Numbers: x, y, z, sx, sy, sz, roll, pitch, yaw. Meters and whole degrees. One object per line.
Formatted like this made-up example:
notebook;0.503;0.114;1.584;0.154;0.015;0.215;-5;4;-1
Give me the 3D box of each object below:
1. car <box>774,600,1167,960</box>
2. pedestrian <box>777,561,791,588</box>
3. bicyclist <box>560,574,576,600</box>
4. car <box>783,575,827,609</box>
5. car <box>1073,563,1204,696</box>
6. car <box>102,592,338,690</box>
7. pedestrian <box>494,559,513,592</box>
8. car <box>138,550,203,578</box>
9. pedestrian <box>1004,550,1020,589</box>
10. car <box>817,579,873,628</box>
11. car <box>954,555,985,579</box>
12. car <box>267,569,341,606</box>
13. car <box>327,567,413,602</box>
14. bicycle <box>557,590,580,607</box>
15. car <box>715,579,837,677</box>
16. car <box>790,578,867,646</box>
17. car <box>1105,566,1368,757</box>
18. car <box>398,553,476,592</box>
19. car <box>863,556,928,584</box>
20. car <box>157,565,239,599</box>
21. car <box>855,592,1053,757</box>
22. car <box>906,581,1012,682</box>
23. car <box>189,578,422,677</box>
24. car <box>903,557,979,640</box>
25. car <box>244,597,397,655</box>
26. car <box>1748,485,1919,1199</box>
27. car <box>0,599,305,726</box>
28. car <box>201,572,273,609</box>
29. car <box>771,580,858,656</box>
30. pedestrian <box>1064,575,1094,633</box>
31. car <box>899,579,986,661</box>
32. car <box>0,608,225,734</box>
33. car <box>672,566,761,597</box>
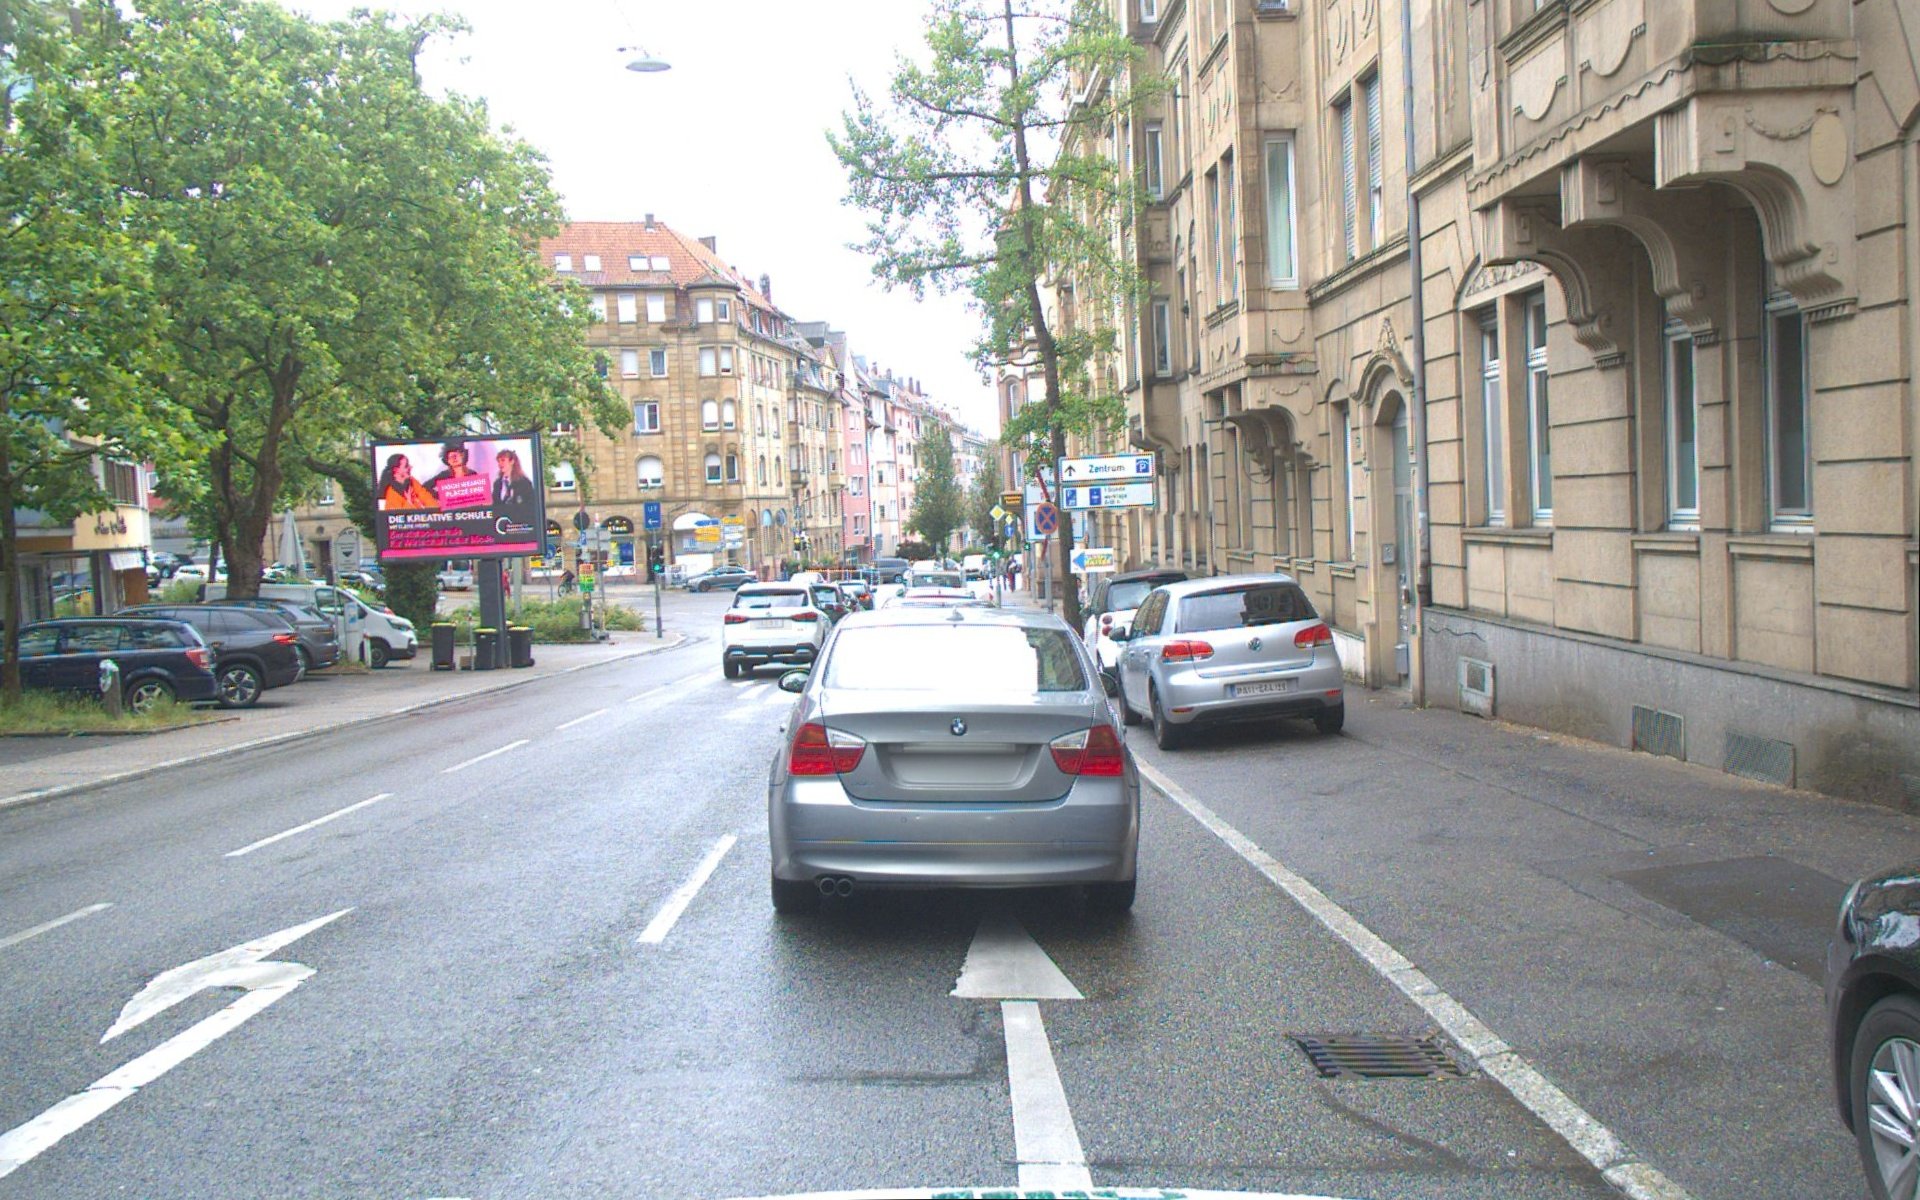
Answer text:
car;0.053;0.735;8.557;1.590;1.407;3.615;-1;1;0
pedestrian;-10.716;-1.535;100.808;0.716;1.605;0.528;-1;1;8
bicyclist;-20.372;-0.675;86.053;0.556;1.295;0.690;1;0;11
car;-7.129;-0.387;76.343;1.680;1.476;3.741;-2;1;-1
car;2.386;0.363;22.670;1.273;1.569;2.975;-6;1;-1
car;-15.121;0.811;34.062;4.295;1.815;1.927;-2;0;-22
pedestrian;-22.834;-1.236;82.794;0.525;1.605;0.719;-2;0;22
car;-51.059;-2.344;106.925;3.909;1.718;1.726;1;0;27
pedestrian;2.625;-1.544;83.497;0.727;1.943;0.659;-2;1;-2
car;-4.171;0.096;60.627;1.723;1.737;4.000;-1;1;0
car;0.726;-2.400;120.610;1.951;1.606;4.002;1;0;5
car;-40.453;-0.813;101.938;4.196;2.138;1.998;2;2;28
car;-30.658;-0.826;85.965;4.157;1.756;1.997;1;2;30
bicycle;-20.371;-0.095;86.067;0.561;0.873;1.523;1;0;12
car;-3.281;0.454;30.129;1.830;1.654;3.999;-1;1;-1
car;-3.519;0.284;44.841;1.723;1.737;4.000;-1;1;0
car;2.568;0.512;16.324;1.725;1.476;3.999;-6;1;-1
car;-30.422;-1.631;96.174;4.196;2.138;1.998;2;2;28
car;-5.027;-2.327;129.728;5.072;2.049;2.698;1;0;-1
car;-42.620;-1.010;92.500;4.155;1.756;1.998;0;3;29
car;-0.040;0.646;16.536;1.723;1.407;4.000;-1;1;0
car;-0.009;0.450;26.862;1.562;1.490;4.000;1;1;0
car;-15.466;0.615;39.288;4.989;2.142;1.979;-2;0;-22
car;-0.529;-0.034;44.788;1.953;2.143;3.999;0;0;-1
car;-18.008;0.710;46.678;3.916;1.475;1.757;-2;0;-22
car;2.834;0.533;1.930;1.724;1.679;4.098;-6;1;0
car;-12.920;0.953;26.659;4.308;1.701;1.842;-3;1;-24
car;-45.504;-0.629;104.049;4.196;2.138;1.998;2;2;28
car;-3.495;0.396;40.259;1.723;1.737;4.000;-1;1;0
pedestrian;3.258;0.112;45.325;0.618;1.534;0.693;-6;0;-2
car;-0.416;0.373;35.220;1.724;1.594;3.999;-1;1;-2
car;-13.038;1.023;23.910;4.299;1.601;1.929;-3;1;-24
car;-13.857;-1.038;94.195;4.589;1.606;1.980;1;0;-30
